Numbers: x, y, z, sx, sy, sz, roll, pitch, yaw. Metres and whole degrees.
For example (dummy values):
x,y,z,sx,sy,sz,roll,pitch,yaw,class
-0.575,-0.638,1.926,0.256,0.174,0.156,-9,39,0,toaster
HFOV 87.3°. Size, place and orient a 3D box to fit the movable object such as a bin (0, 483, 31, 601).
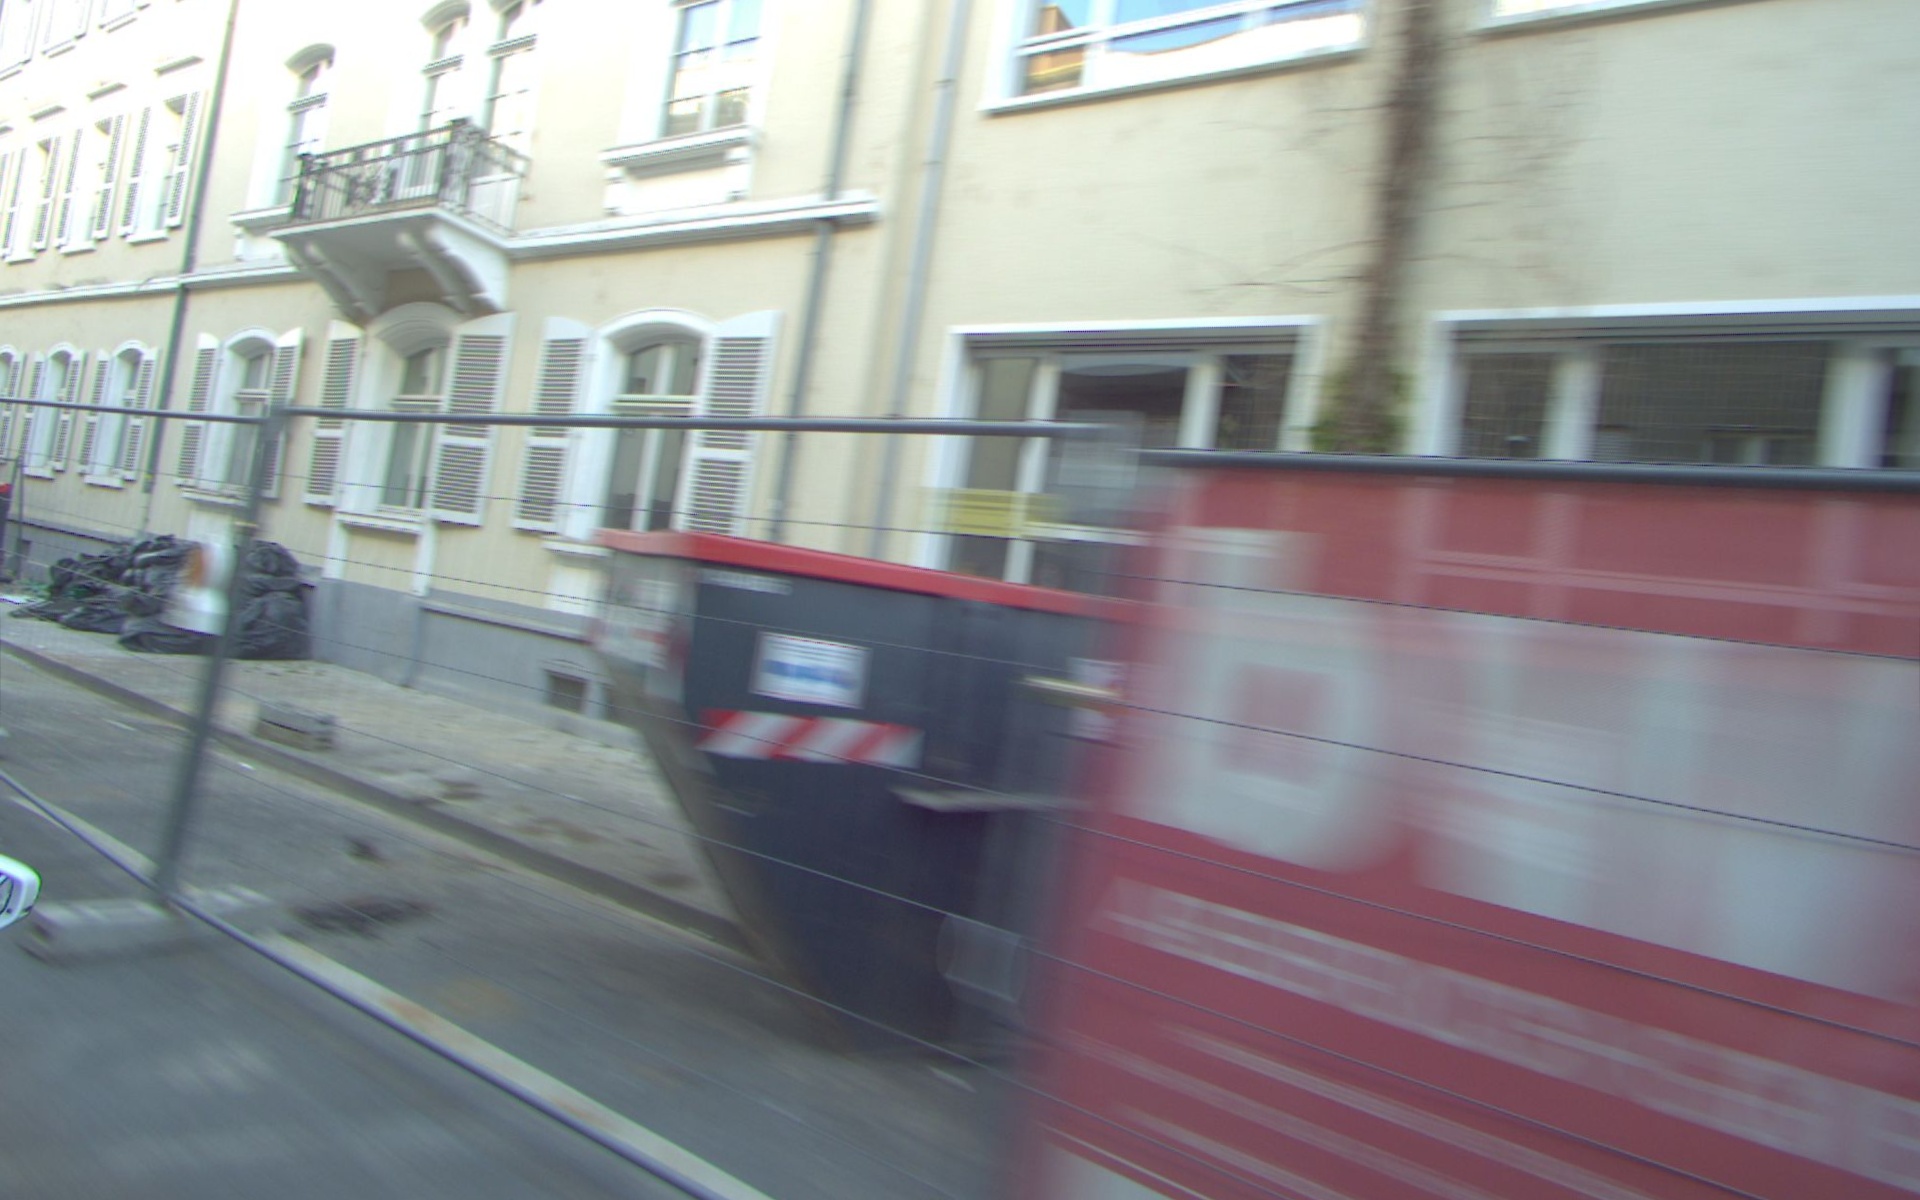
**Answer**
x,y,z,sx,sy,sz,roll,pitch,yaw,class
-17.486,-1.413,15.303,7.424,1.656,2.745,8,-3,30,movable object such as a bin
